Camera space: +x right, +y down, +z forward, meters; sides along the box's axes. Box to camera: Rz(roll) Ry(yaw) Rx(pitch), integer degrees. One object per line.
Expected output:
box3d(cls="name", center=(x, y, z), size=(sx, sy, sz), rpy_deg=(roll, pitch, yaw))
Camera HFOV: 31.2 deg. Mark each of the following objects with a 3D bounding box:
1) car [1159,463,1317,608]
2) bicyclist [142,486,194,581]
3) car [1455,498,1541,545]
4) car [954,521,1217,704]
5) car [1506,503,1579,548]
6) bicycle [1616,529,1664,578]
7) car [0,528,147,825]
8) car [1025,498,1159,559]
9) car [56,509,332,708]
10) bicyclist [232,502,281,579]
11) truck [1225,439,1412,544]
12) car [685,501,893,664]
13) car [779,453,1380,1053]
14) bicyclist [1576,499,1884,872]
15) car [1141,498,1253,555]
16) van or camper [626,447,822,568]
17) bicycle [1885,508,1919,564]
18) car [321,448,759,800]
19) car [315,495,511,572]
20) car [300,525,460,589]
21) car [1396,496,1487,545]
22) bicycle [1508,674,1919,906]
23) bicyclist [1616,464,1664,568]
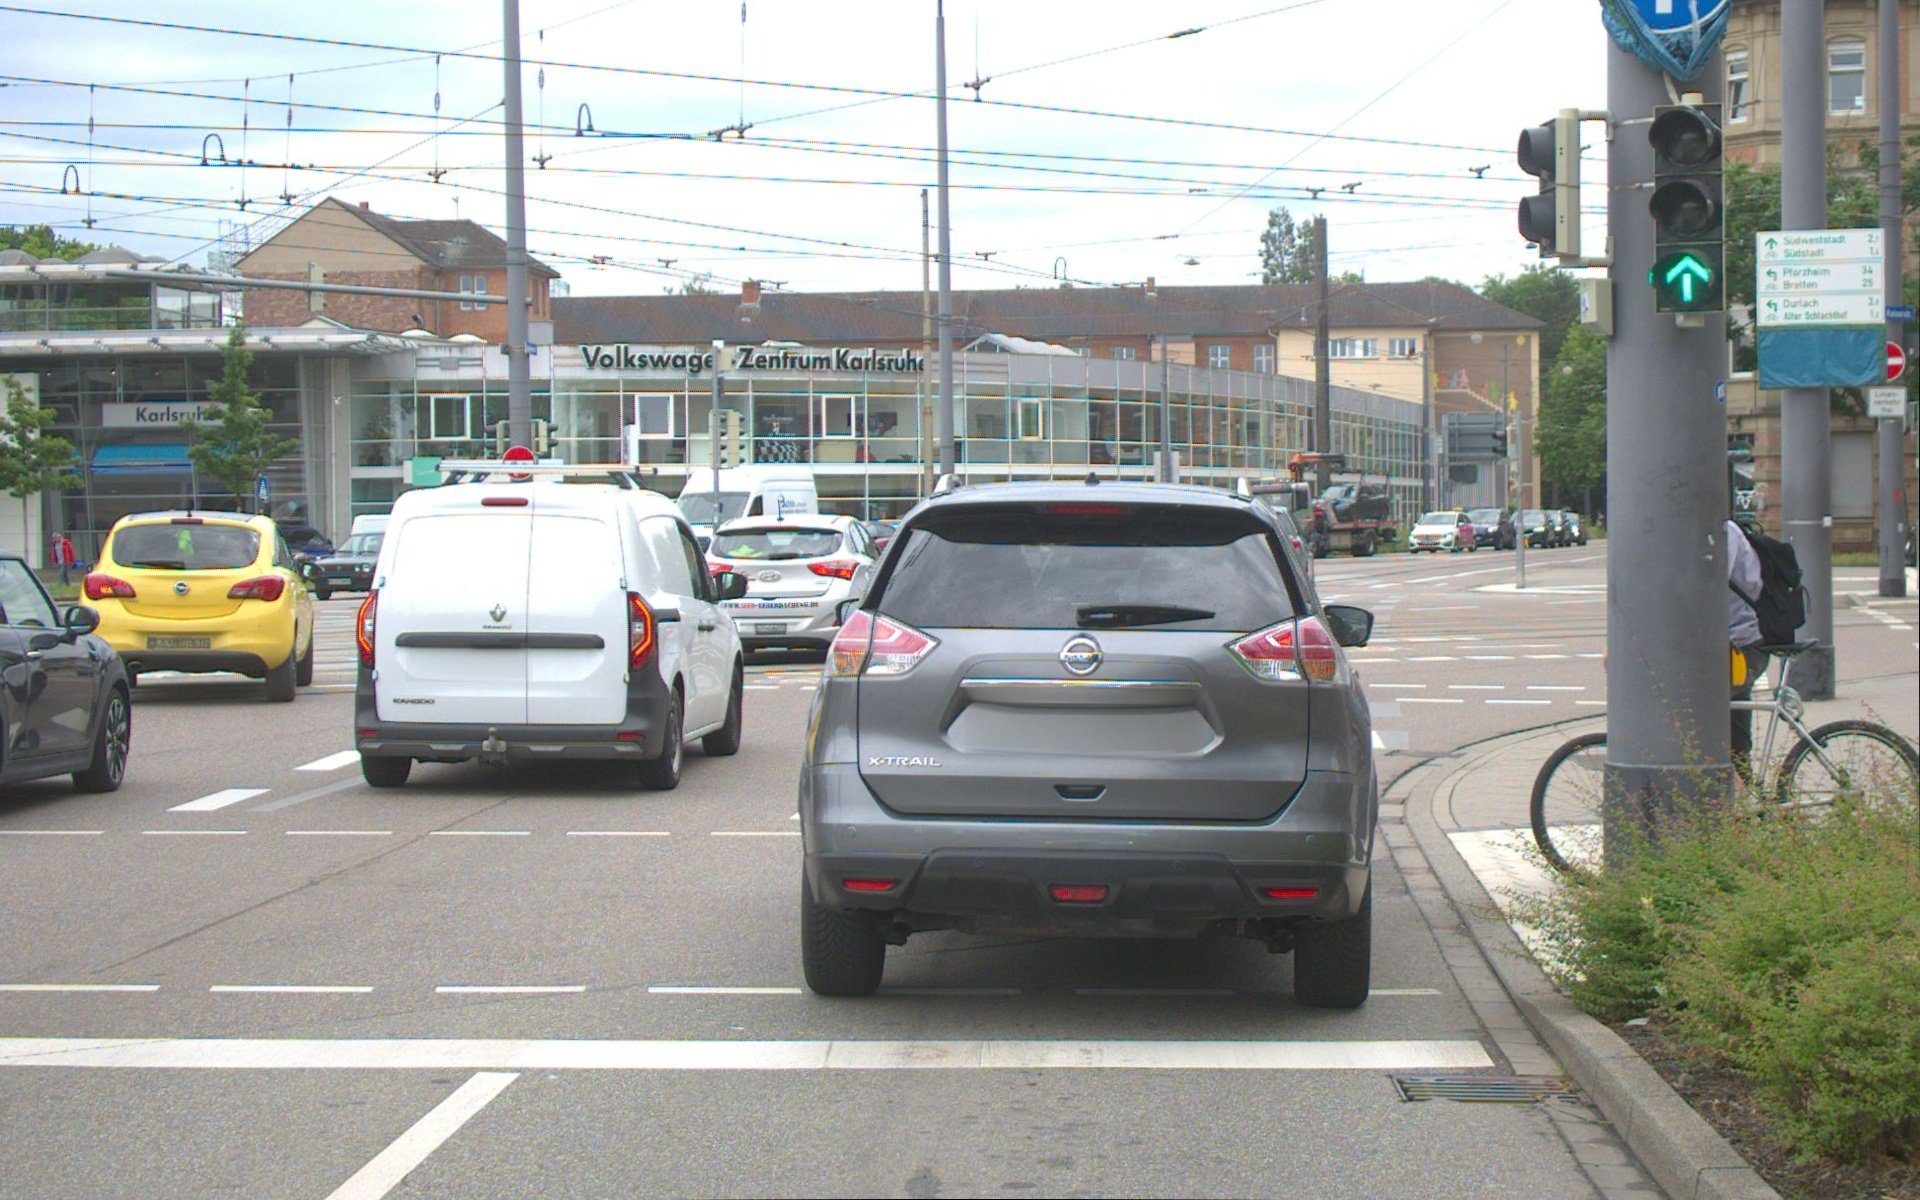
box3d(cls="car", center=(4.001, -0.942, 50.059), size=(1.993, 2.007, 4.000), rpy_deg=(1, 1, 1))
box3d(cls="bicyclist", center=(-15.202, -1.281, 66.013), size=(0.628, 1.797, 0.796), rpy_deg=(0, 1, 21))
box3d(cls="car", center=(21.551, -3.148, 137.618), size=(1.997, 1.832, 4.516), rpy_deg=(0, 2, 29))
box3d(cls="car", center=(1.127, 0.057, 28.916), size=(1.994, 1.415, 4.000), rpy_deg=(0, 1, 5))
box3d(cls="car", center=(24.469, -3.147, 144.329), size=(1.996, 1.832, 4.517), rpy_deg=(0, 2, 24))
box3d(cls="bicycle", center=(11.253, -0.776, 56.917), size=(0.619, 0.791, 1.591), rpy_deg=(0, 1, 5))
box3d(cls="car", center=(-5.658, 0.361, 18.228), size=(1.769, 1.463, 4.000), rpy_deg=(0, 1, -1))
box3d(cls="car", center=(4.166, -2.258, 107.181), size=(2.160, 1.850, 5.440), rpy_deg=(0, 2, 26))
box3d(cls="car", center=(-6.197, 0.016, 28.191), size=(1.817, 1.489, 4.001), rpy_deg=(1, 1, -7))
box3d(cls="bicyclist", center=(-14.085, -1.195, 68.849), size=(0.566, 1.503, 0.856), rpy_deg=(0, 3, 21))
box3d(cls="truck", center=(12.801, -3.788, 121.878), size=(2.799, 3.537, 9.207), rpy_deg=(1, 1, 32))
box3d(cls="car", center=(-1.634, -0.206, 34.064), size=(1.853, 1.503, 4.000), rpy_deg=(1, 1, 0))
box3d(cls="car", center=(0.415, 0.424, 12.068), size=(1.749, 1.750, 3.923), rpy_deg=(-1, 1, 2))
box3d(cls="bicyclist", center=(3.217, 0.341, 14.428), size=(1.097, 1.515, 0.760), rpy_deg=(0, 1, -2))
box3d(cls="car", center=(7.885, -2.453, 113.927), size=(1.997, 1.832, 4.516), rpy_deg=(0, 2, 29))
box3d(cls="van or camper", center=(-5.275, -2.080, 77.897), size=(2.417, 2.602, 6.047), rpy_deg=(1, 1, 17))
box3d(cls="bicycle", center=(23.440, -1.553, 83.772), size=(0.959, 1.349, 3.115), rpy_deg=(1, 1, 30))
box3d(cls="car", center=(-2.434, 0.079, 20.973), size=(1.912, 1.933, 4.131), rpy_deg=(0, 1, 4))
box3d(cls="car", center=(-14.757, -1.802, 92.881), size=(4.770, 2.007, 2.119), rpy_deg=(1, 1, 17))
box3d(cls="car", center=(-11.596, -0.879, 68.983), size=(1.688, 1.242, 3.735), rpy_deg=(0, 2, 16))
box3d(cls="car", center=(18.401, -3.051, 131.248), size=(1.997, 1.832, 4.516), rpy_deg=(0, 2, 29))
box3d(cls="bicycle", center=(3.295, 0.783, 14.431), size=(1.820, 0.837, 0.767), rpy_deg=(-2, 1, -2))
box3d(cls="bicyclist", center=(11.248, -1.383, 56.869), size=(0.688, 1.702, 0.798), rpy_deg=(0, 1, 5))
